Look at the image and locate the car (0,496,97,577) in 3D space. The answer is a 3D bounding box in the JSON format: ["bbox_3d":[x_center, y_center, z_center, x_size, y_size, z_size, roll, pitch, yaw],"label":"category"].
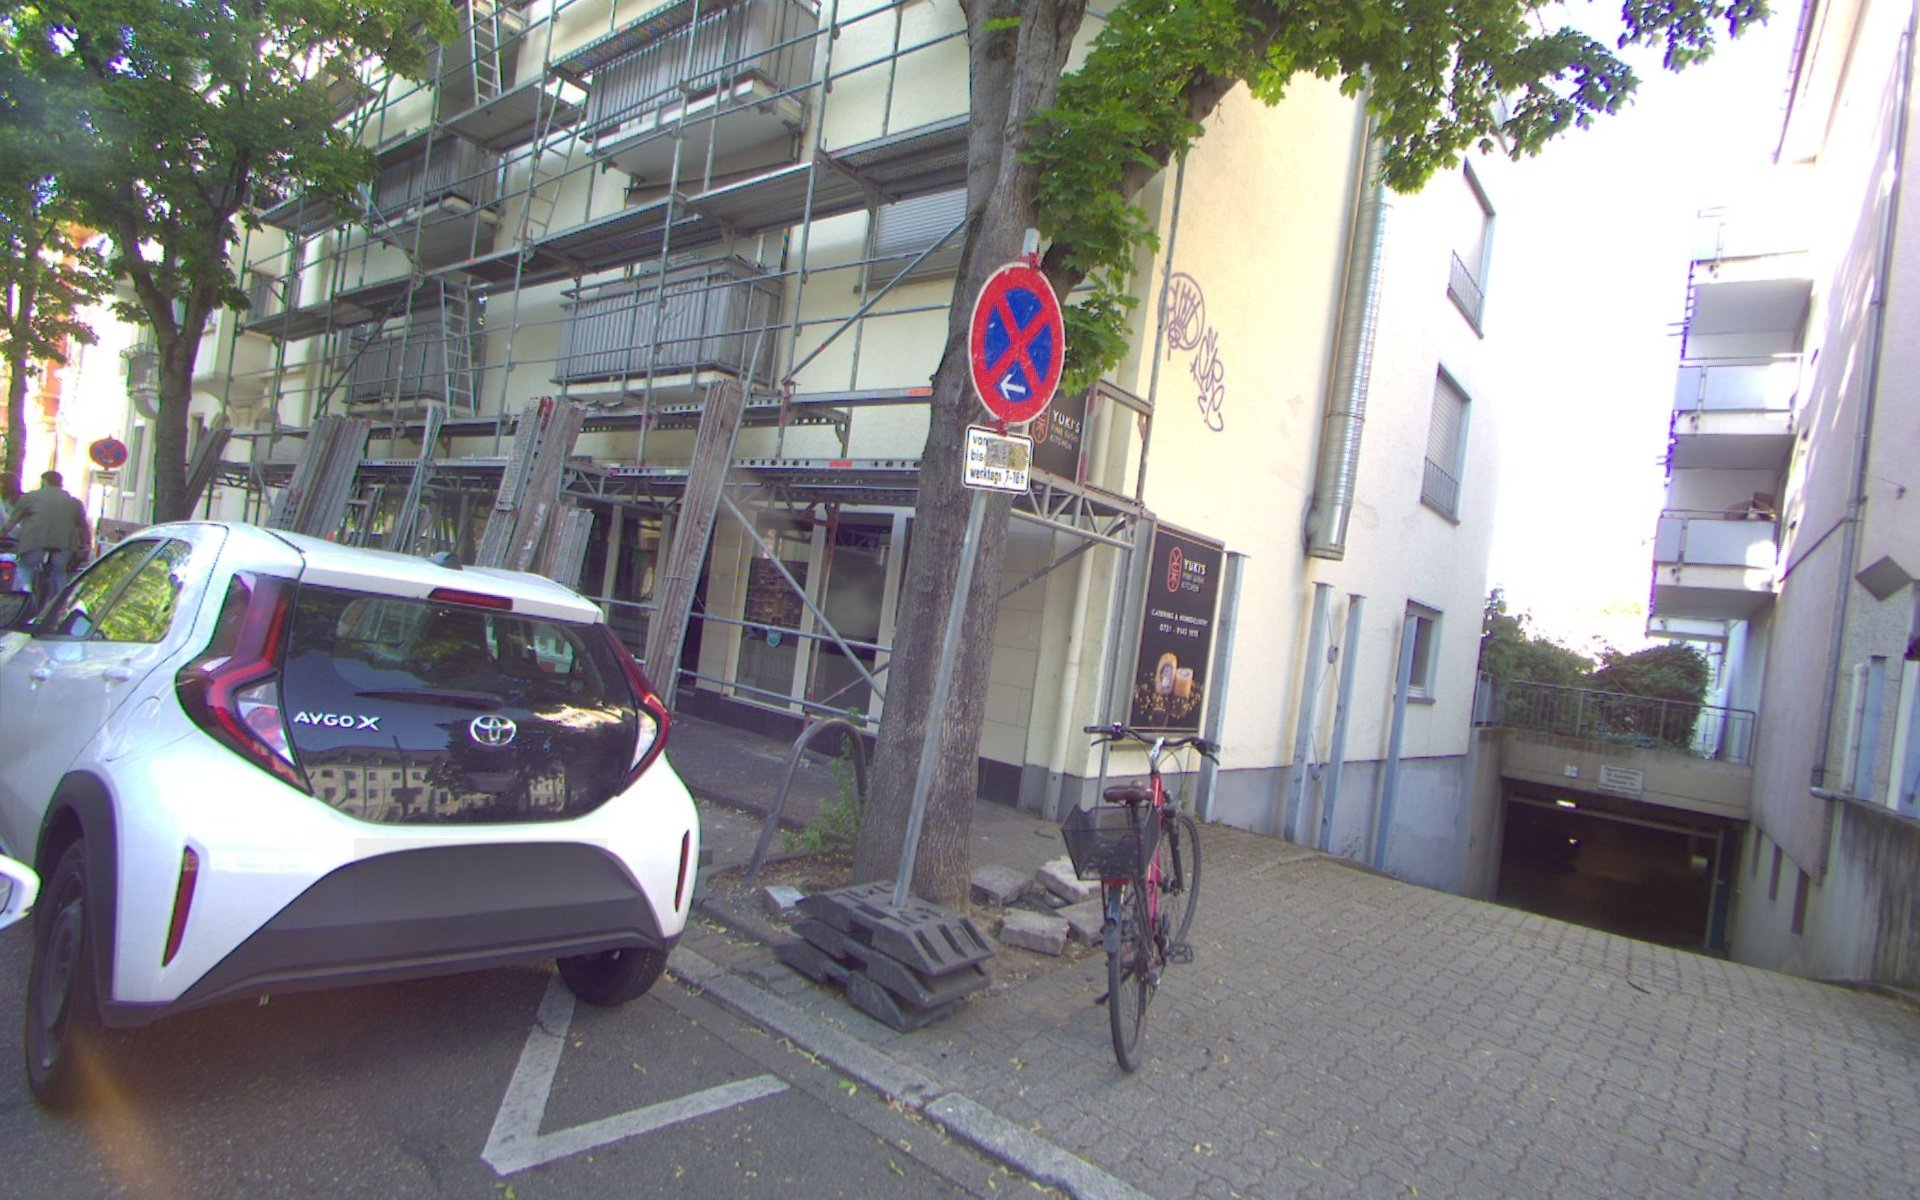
[{"bbox_3d":[-20.253,-1.448,21.728,4.366,1.440,1.678,7,0,40],"label":"car"}]

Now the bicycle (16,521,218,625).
[{"bbox_3d":[-11.639,-0.359,13.972,1.903,1.134,0.744,9,-1,-21],"label":"bicycle"}]

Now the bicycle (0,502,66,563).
[{"bbox_3d":[-23.025,-1.686,24.444,0.577,1.321,1.759,7,-1,38],"label":"bicycle"}]

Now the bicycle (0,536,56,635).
[{"bbox_3d":[-11.697,-0.234,12.220,1.832,1.056,0.706,6,-4,41],"label":"bicycle"}]

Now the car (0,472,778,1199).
[{"bbox_3d":[-2.748,0.458,4.003,3.909,1.553,1.801,7,-2,42],"label":"car"}]

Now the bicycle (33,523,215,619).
[{"bbox_3d":[-12.522,-0.425,15.146,1.969,1.134,0.739,9,-1,-40],"label":"bicycle"}]

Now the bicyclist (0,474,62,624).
[{"bbox_3d":[-11.635,-0.640,12.248,0.968,1.707,0.714,7,-3,41],"label":"bicyclist"}]

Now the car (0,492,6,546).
[{"bbox_3d":[-30.040,-2.611,30.049,4.714,1.548,1.748,7,0,41],"label":"car"}]

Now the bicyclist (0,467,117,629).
[{"bbox_3d":[-9.783,-0.561,10.813,0.966,1.583,0.756,7,-2,38],"label":"bicyclist"}]

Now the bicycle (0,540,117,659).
[{"bbox_3d":[-9.828,-0.030,10.784,1.830,1.072,0.739,6,-2,38],"label":"bicycle"}]

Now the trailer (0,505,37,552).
[{"bbox_3d":[-25.983,-2.014,26.511,1.096,1.125,2.087,7,-2,26],"label":"trailer"}]

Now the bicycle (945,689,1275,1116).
[{"bbox_3d":[0.752,1.065,4.266,0.738,1.170,1.969,7,2,25],"label":"bicycle"}]
